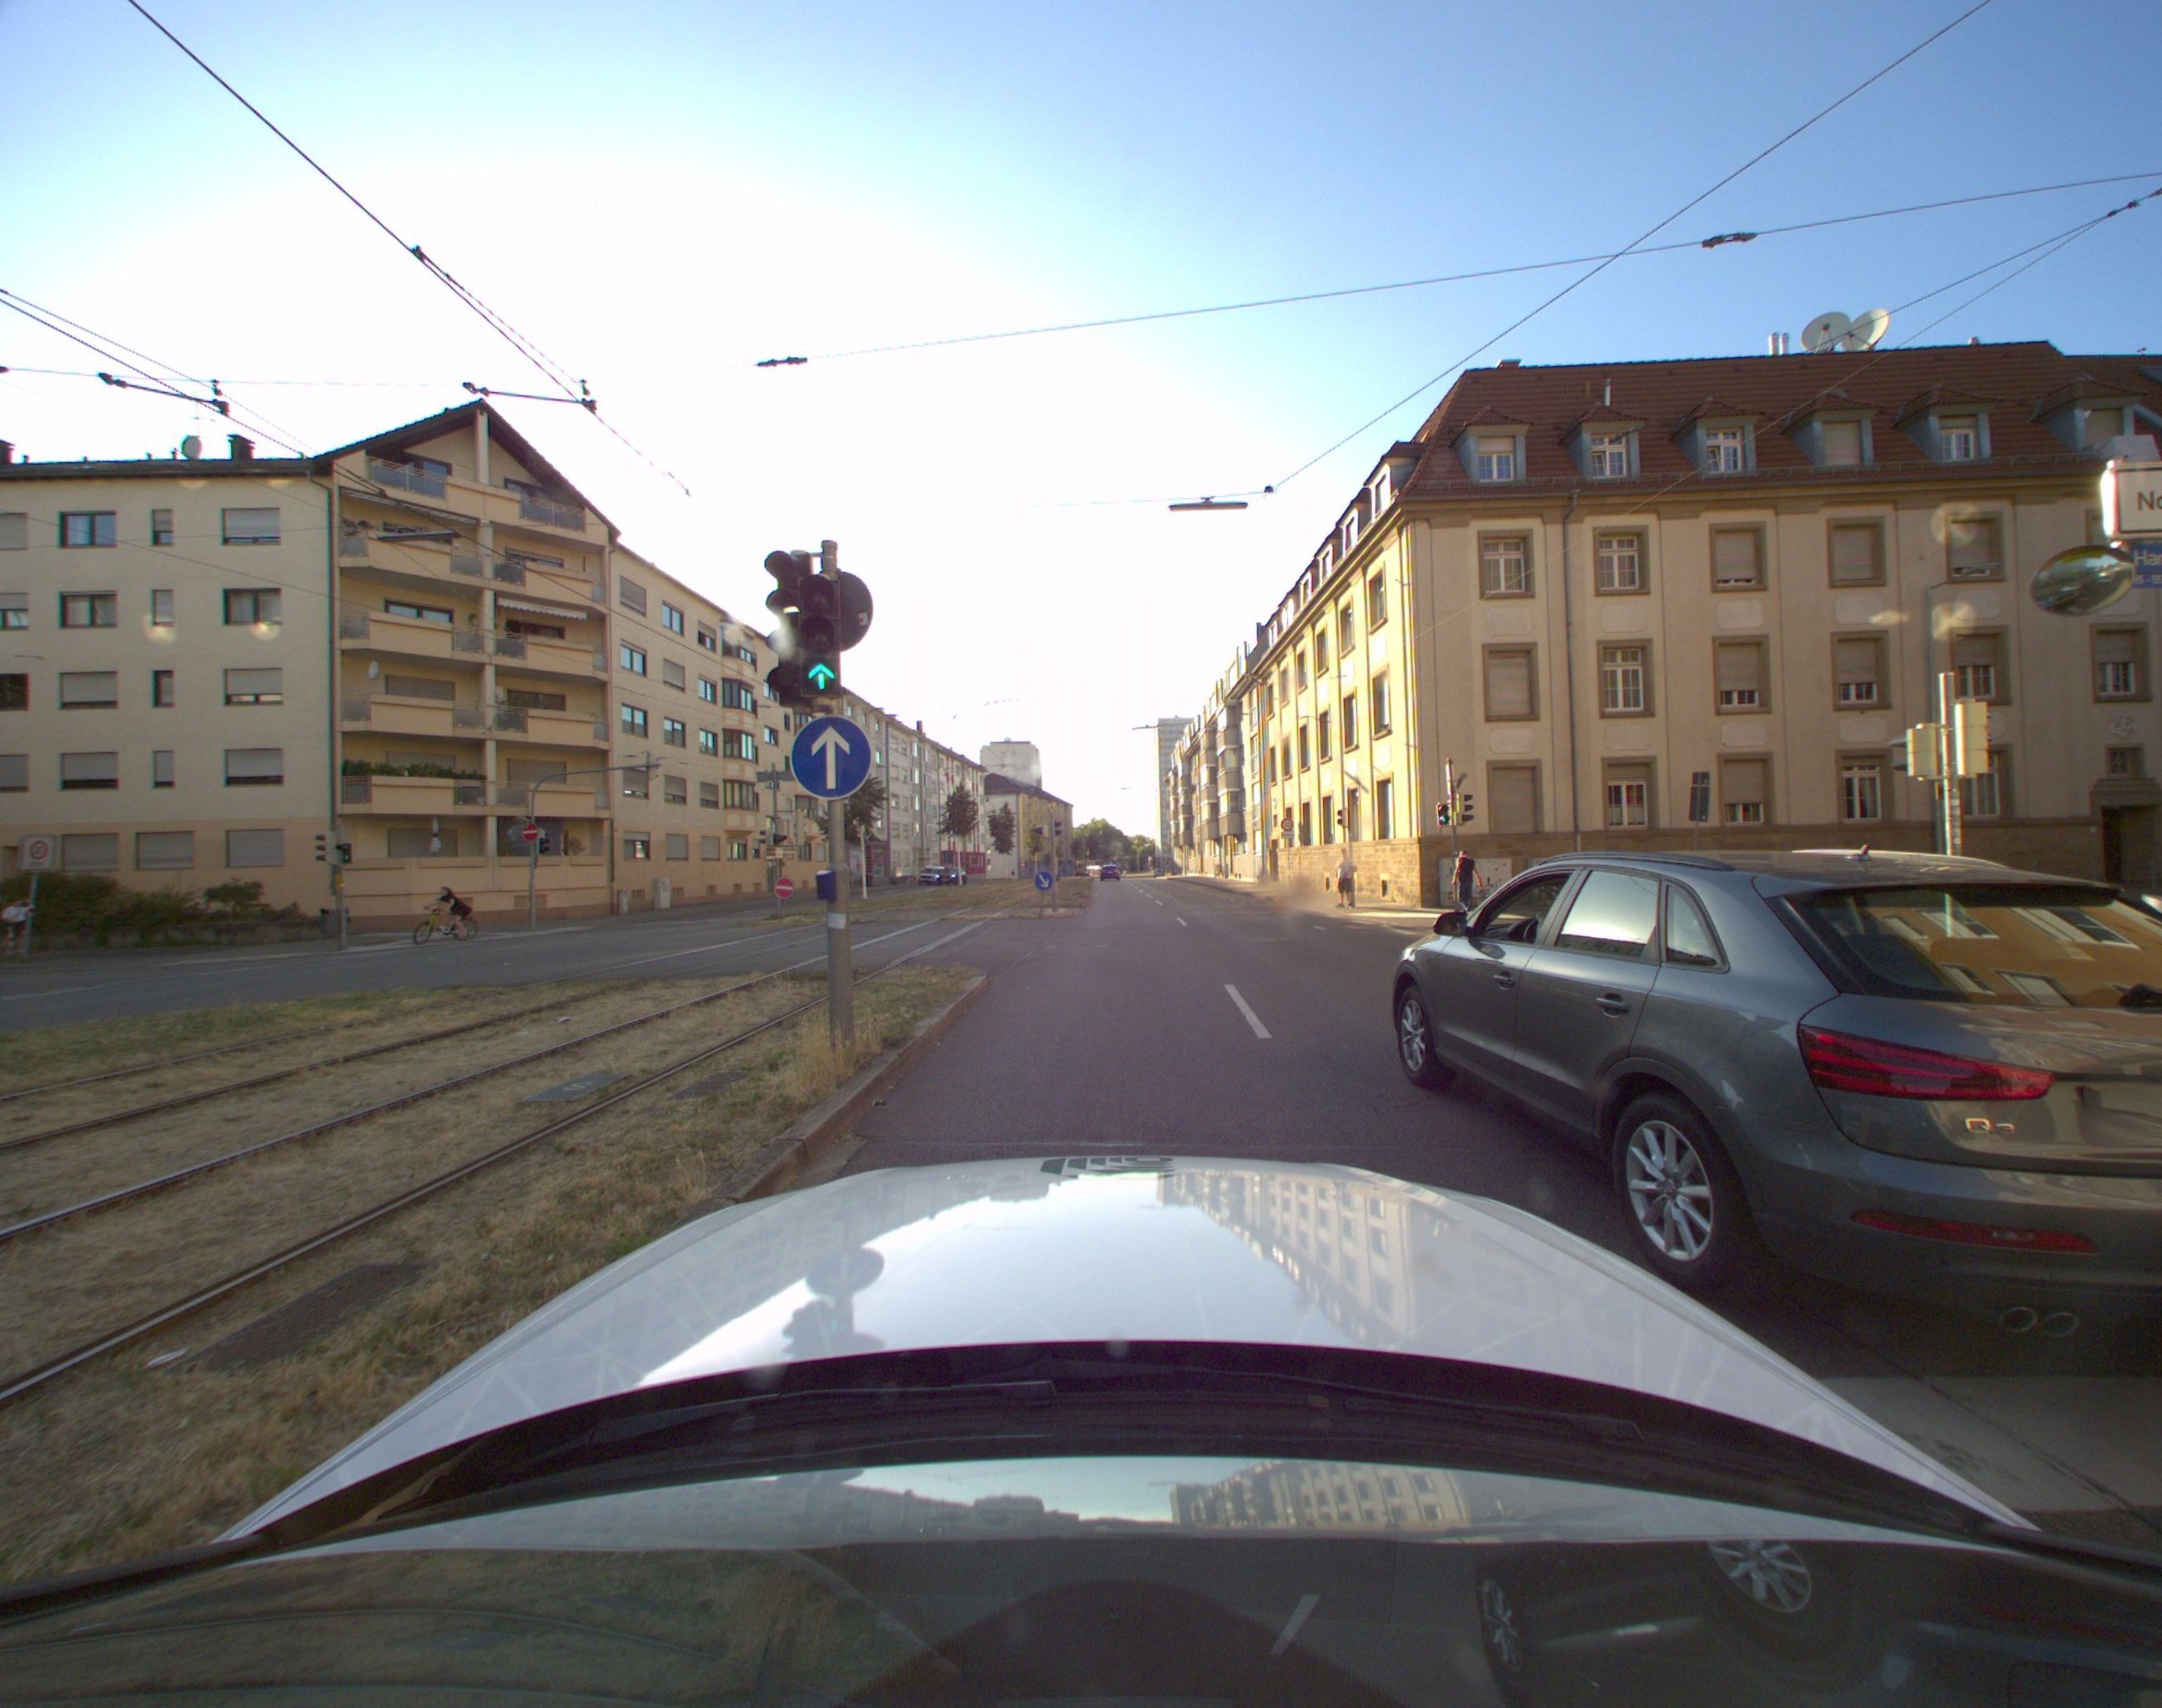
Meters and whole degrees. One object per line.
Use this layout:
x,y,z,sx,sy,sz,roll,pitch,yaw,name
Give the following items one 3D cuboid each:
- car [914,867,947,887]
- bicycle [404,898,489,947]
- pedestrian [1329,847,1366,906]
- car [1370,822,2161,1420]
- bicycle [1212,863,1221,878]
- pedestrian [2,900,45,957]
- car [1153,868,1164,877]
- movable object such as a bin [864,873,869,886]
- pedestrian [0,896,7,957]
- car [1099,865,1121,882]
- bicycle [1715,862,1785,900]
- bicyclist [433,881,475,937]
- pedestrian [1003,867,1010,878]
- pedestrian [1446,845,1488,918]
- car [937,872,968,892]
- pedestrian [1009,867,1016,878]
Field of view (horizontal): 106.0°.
-14.816,2.258,80.363,1.984,1.925,4.548,0,-1,5,car
-18.336,1.948,23.579,0.450,1.257,1.882,-1,0,34,bicycle
8.063,0.673,24.653,0.832,1.762,0.824,0,-2,1,pedestrian
2.987,0.722,4.239,1.690,1.553,4.229,0,-1,3,car
10.073,1.215,60.432,0.382,1.096,1.503,-2,-1,0,bicycle
-30.056,2.110,23.155,0.546,1.552,0.517,0,1,7,pedestrian
14.066,3.426,147.751,1.985,1.564,4.004,0,-1,4,car
-17.670,2.126,67.113,0.297,1.036,0.441,0,-2,0,movable object such as a bin
-30.313,2.017,22.517,0.587,1.705,0.464,0,-2,7,pedestrian
2.675,1.764,73.998,1.919,1.456,4.329,0,-1,2,car
18.326,0.737,22.329,1.491,1.018,0.251,-1,-2,17,bicycle
-18.256,1.586,23.721,0.620,1.586,0.814,-1,-1,35,bicyclist
-11.734,2.882,128.681,0.957,1.694,1.013,0,-2,6,pedestrian
9.455,0.669,19.985,0.627,1.758,0.825,0,-2,1,pedestrian
-11.937,2.588,76.030,1.890,1.633,4.749,-2,-1,2,car
-10.850,2.890,129.192,0.957,1.670,1.013,0,-2,6,pedestrian
